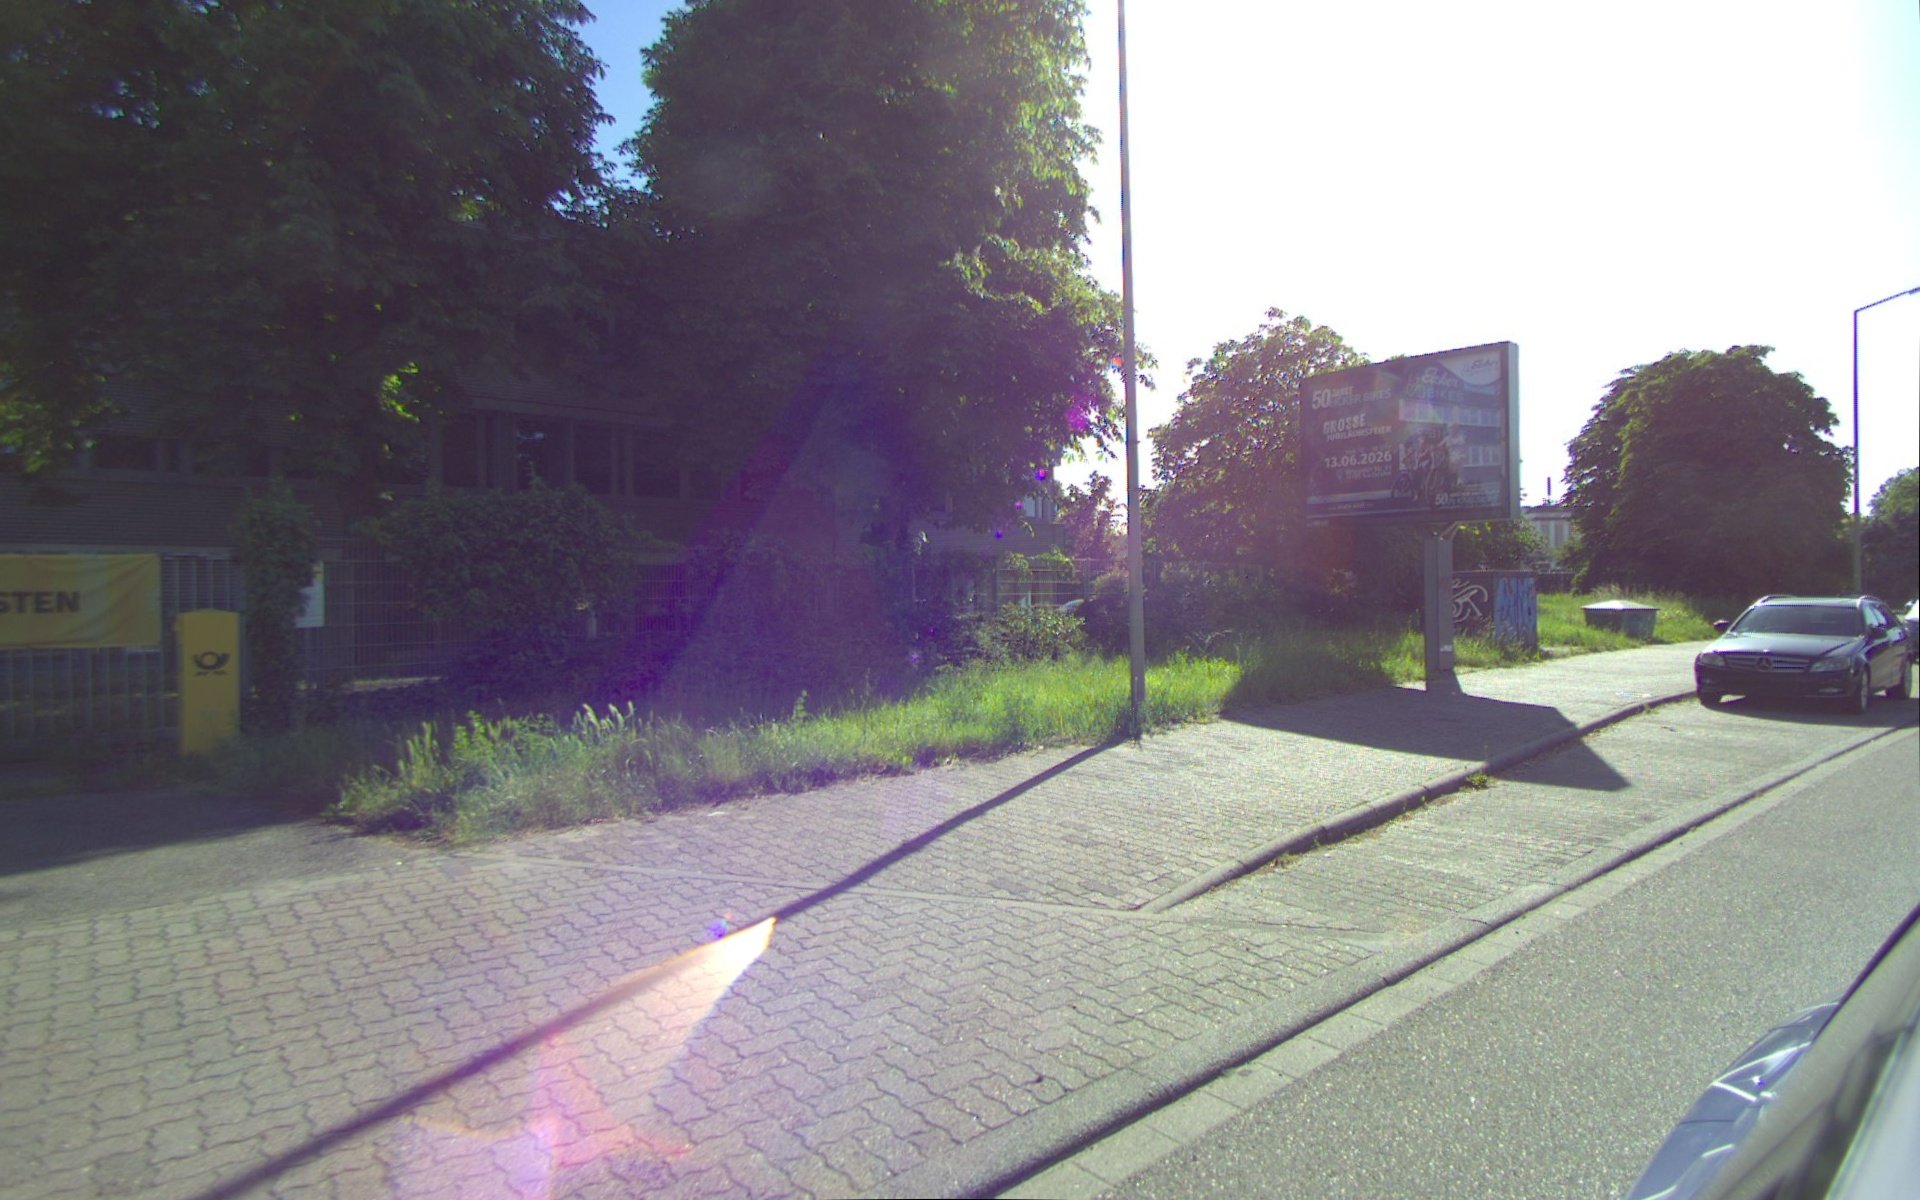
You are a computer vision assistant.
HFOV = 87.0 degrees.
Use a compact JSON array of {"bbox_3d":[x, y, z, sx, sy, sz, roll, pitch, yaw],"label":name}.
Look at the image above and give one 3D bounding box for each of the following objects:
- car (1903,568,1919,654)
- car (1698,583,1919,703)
[{"bbox_3d":[21.730,0.195,21.296,4.525,1.743,1.879,-1,3,-36],"label":"car"},{"bbox_3d":[12.126,0.482,14.183,4.344,1.437,1.813,-1,1,-39],"label":"car"}]
